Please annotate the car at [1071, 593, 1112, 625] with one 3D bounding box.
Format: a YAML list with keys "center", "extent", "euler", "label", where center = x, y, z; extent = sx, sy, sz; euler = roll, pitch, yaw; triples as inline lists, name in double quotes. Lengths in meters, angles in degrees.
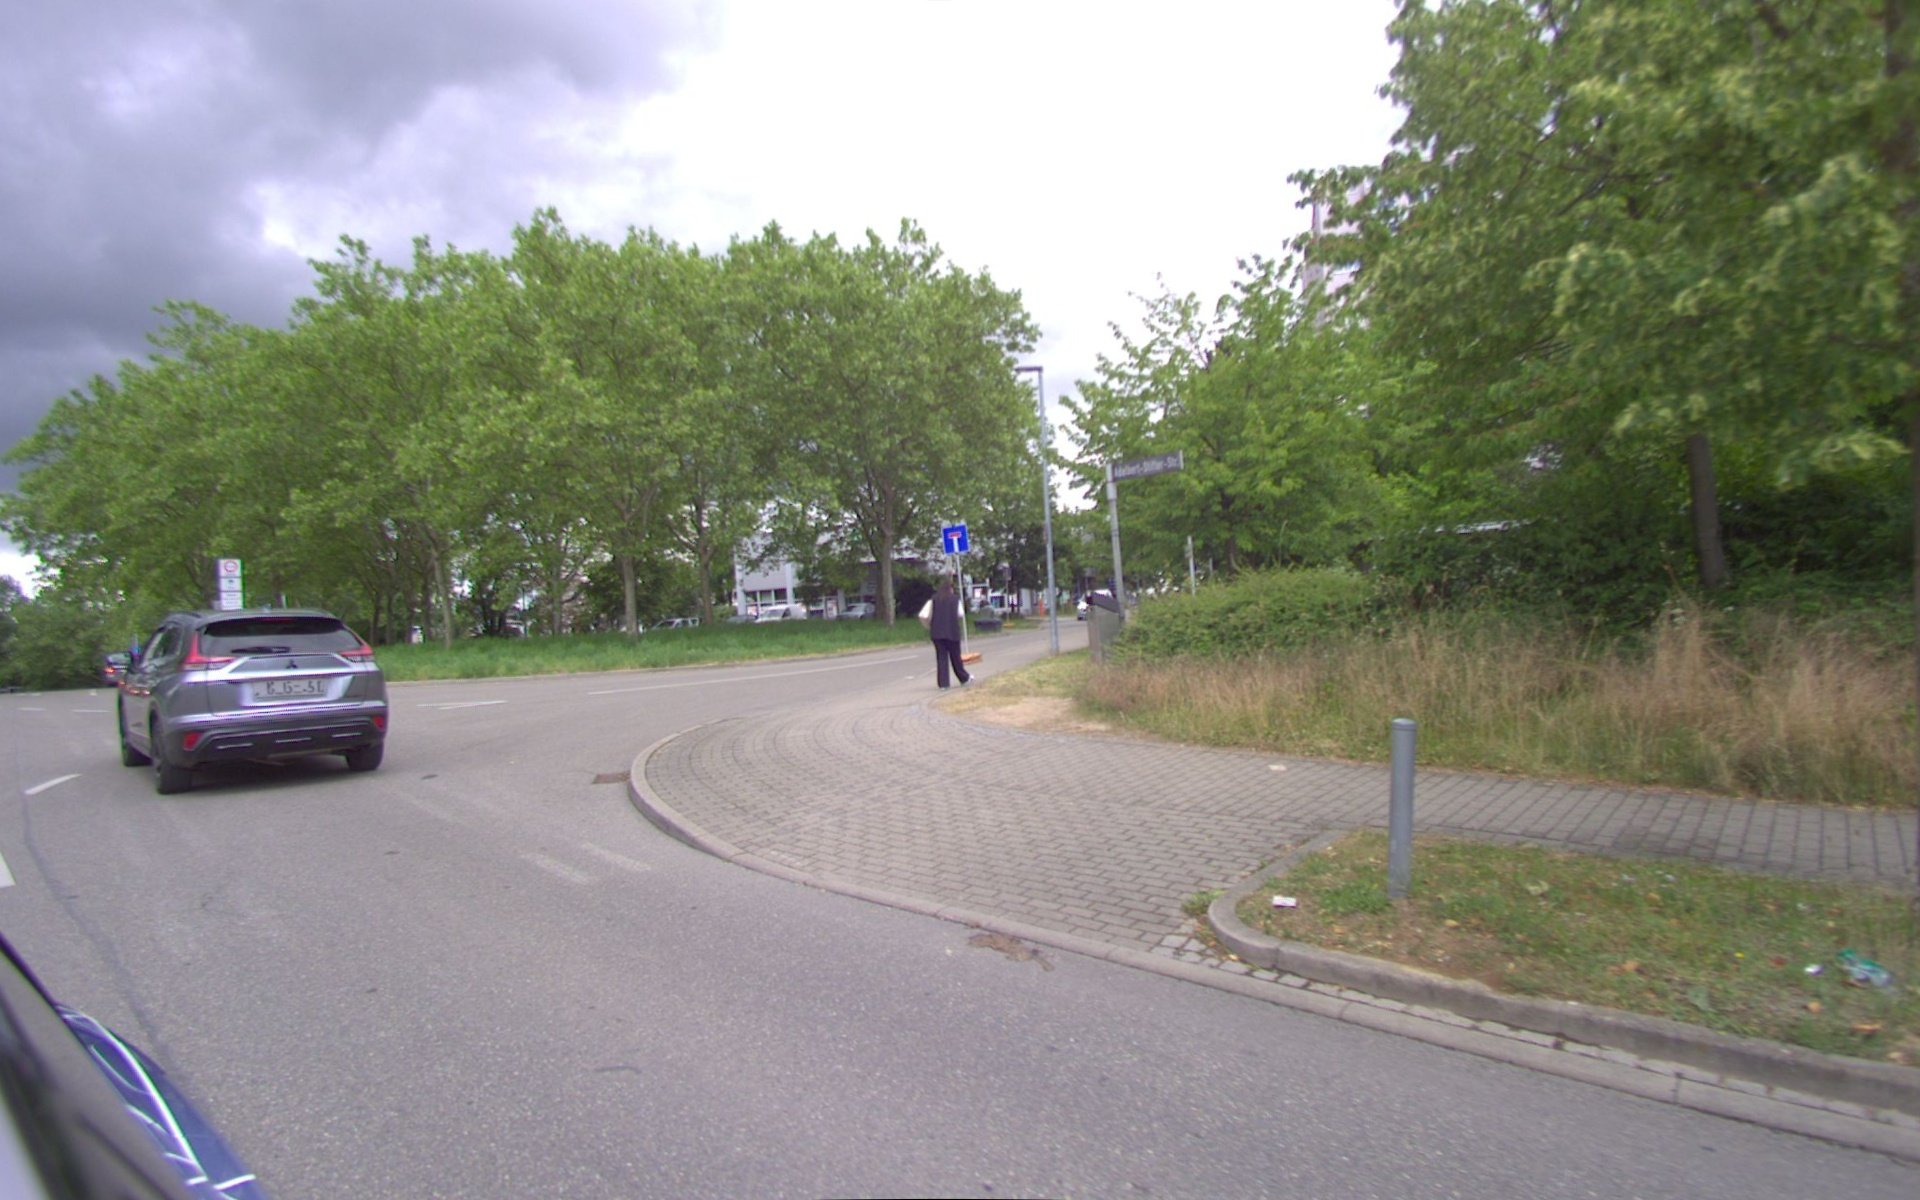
- center: [7.931, 0.502, 60.815]
  extent: [1.766, 1.785, 3.979]
  euler: [-2, 0, 16]
  label: "car"

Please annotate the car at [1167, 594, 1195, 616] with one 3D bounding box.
- center: [16.532, 0.358, 75.529]
  extent: [1.766, 1.497, 3.655]
  euler: [-2, 0, 16]
  label: "car"

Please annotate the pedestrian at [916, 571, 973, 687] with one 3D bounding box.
- center: [-0.226, 0.422, 14.867]
  extent: [0.710, 1.623, 0.634]
  euler: [-4, -2, 0]
  label: "pedestrian"

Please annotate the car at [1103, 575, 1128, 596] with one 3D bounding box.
- center: [14.323, -1.315, 93.014]
  extent: [1.766, 1.785, 3.979]
  euler: [-2, 0, 16]
  label: "car"

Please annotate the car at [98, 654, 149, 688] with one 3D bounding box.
- center: [-43.152, 3.615, 52.192]
  extent: [1.734, 1.527, 4.003]
  euler: [-2, -1, -44]
  label: "car"

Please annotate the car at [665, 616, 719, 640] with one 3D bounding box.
- center: [-17.961, 1.875, 68.032]
  extent: [1.640, 1.475, 3.979]
  euler: [-2, 0, 16]
  label: "car"

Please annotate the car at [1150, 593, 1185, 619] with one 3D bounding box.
- center: [12.584, 0.346, 61.219]
  extent: [1.766, 1.497, 3.655]
  euler: [-2, 0, 16]
  label: "car"

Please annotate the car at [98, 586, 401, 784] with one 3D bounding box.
- center: [-7.384, 0.799, 10.353]
  extent: [1.874, 1.595, 4.170]
  euler: [2, -4, -44]
  label: "car"

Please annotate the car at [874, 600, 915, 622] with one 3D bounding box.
- center: [-4.726, 0.795, 73.264]
  extent: [1.640, 1.475, 3.979]
  euler: [-2, 0, 16]
  label: "car"

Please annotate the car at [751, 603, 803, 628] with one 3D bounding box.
- center: [-11.675, 0.998, 64.904]
  extent: [1.640, 1.475, 3.979]
  euler: [-2, 0, 16]
  label: "car"

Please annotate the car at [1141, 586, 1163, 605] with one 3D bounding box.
- center: [19.403, -0.426, 102.181]
  extent: [1.766, 1.785, 3.979]
  euler: [-2, 0, 16]
  label: "car"
